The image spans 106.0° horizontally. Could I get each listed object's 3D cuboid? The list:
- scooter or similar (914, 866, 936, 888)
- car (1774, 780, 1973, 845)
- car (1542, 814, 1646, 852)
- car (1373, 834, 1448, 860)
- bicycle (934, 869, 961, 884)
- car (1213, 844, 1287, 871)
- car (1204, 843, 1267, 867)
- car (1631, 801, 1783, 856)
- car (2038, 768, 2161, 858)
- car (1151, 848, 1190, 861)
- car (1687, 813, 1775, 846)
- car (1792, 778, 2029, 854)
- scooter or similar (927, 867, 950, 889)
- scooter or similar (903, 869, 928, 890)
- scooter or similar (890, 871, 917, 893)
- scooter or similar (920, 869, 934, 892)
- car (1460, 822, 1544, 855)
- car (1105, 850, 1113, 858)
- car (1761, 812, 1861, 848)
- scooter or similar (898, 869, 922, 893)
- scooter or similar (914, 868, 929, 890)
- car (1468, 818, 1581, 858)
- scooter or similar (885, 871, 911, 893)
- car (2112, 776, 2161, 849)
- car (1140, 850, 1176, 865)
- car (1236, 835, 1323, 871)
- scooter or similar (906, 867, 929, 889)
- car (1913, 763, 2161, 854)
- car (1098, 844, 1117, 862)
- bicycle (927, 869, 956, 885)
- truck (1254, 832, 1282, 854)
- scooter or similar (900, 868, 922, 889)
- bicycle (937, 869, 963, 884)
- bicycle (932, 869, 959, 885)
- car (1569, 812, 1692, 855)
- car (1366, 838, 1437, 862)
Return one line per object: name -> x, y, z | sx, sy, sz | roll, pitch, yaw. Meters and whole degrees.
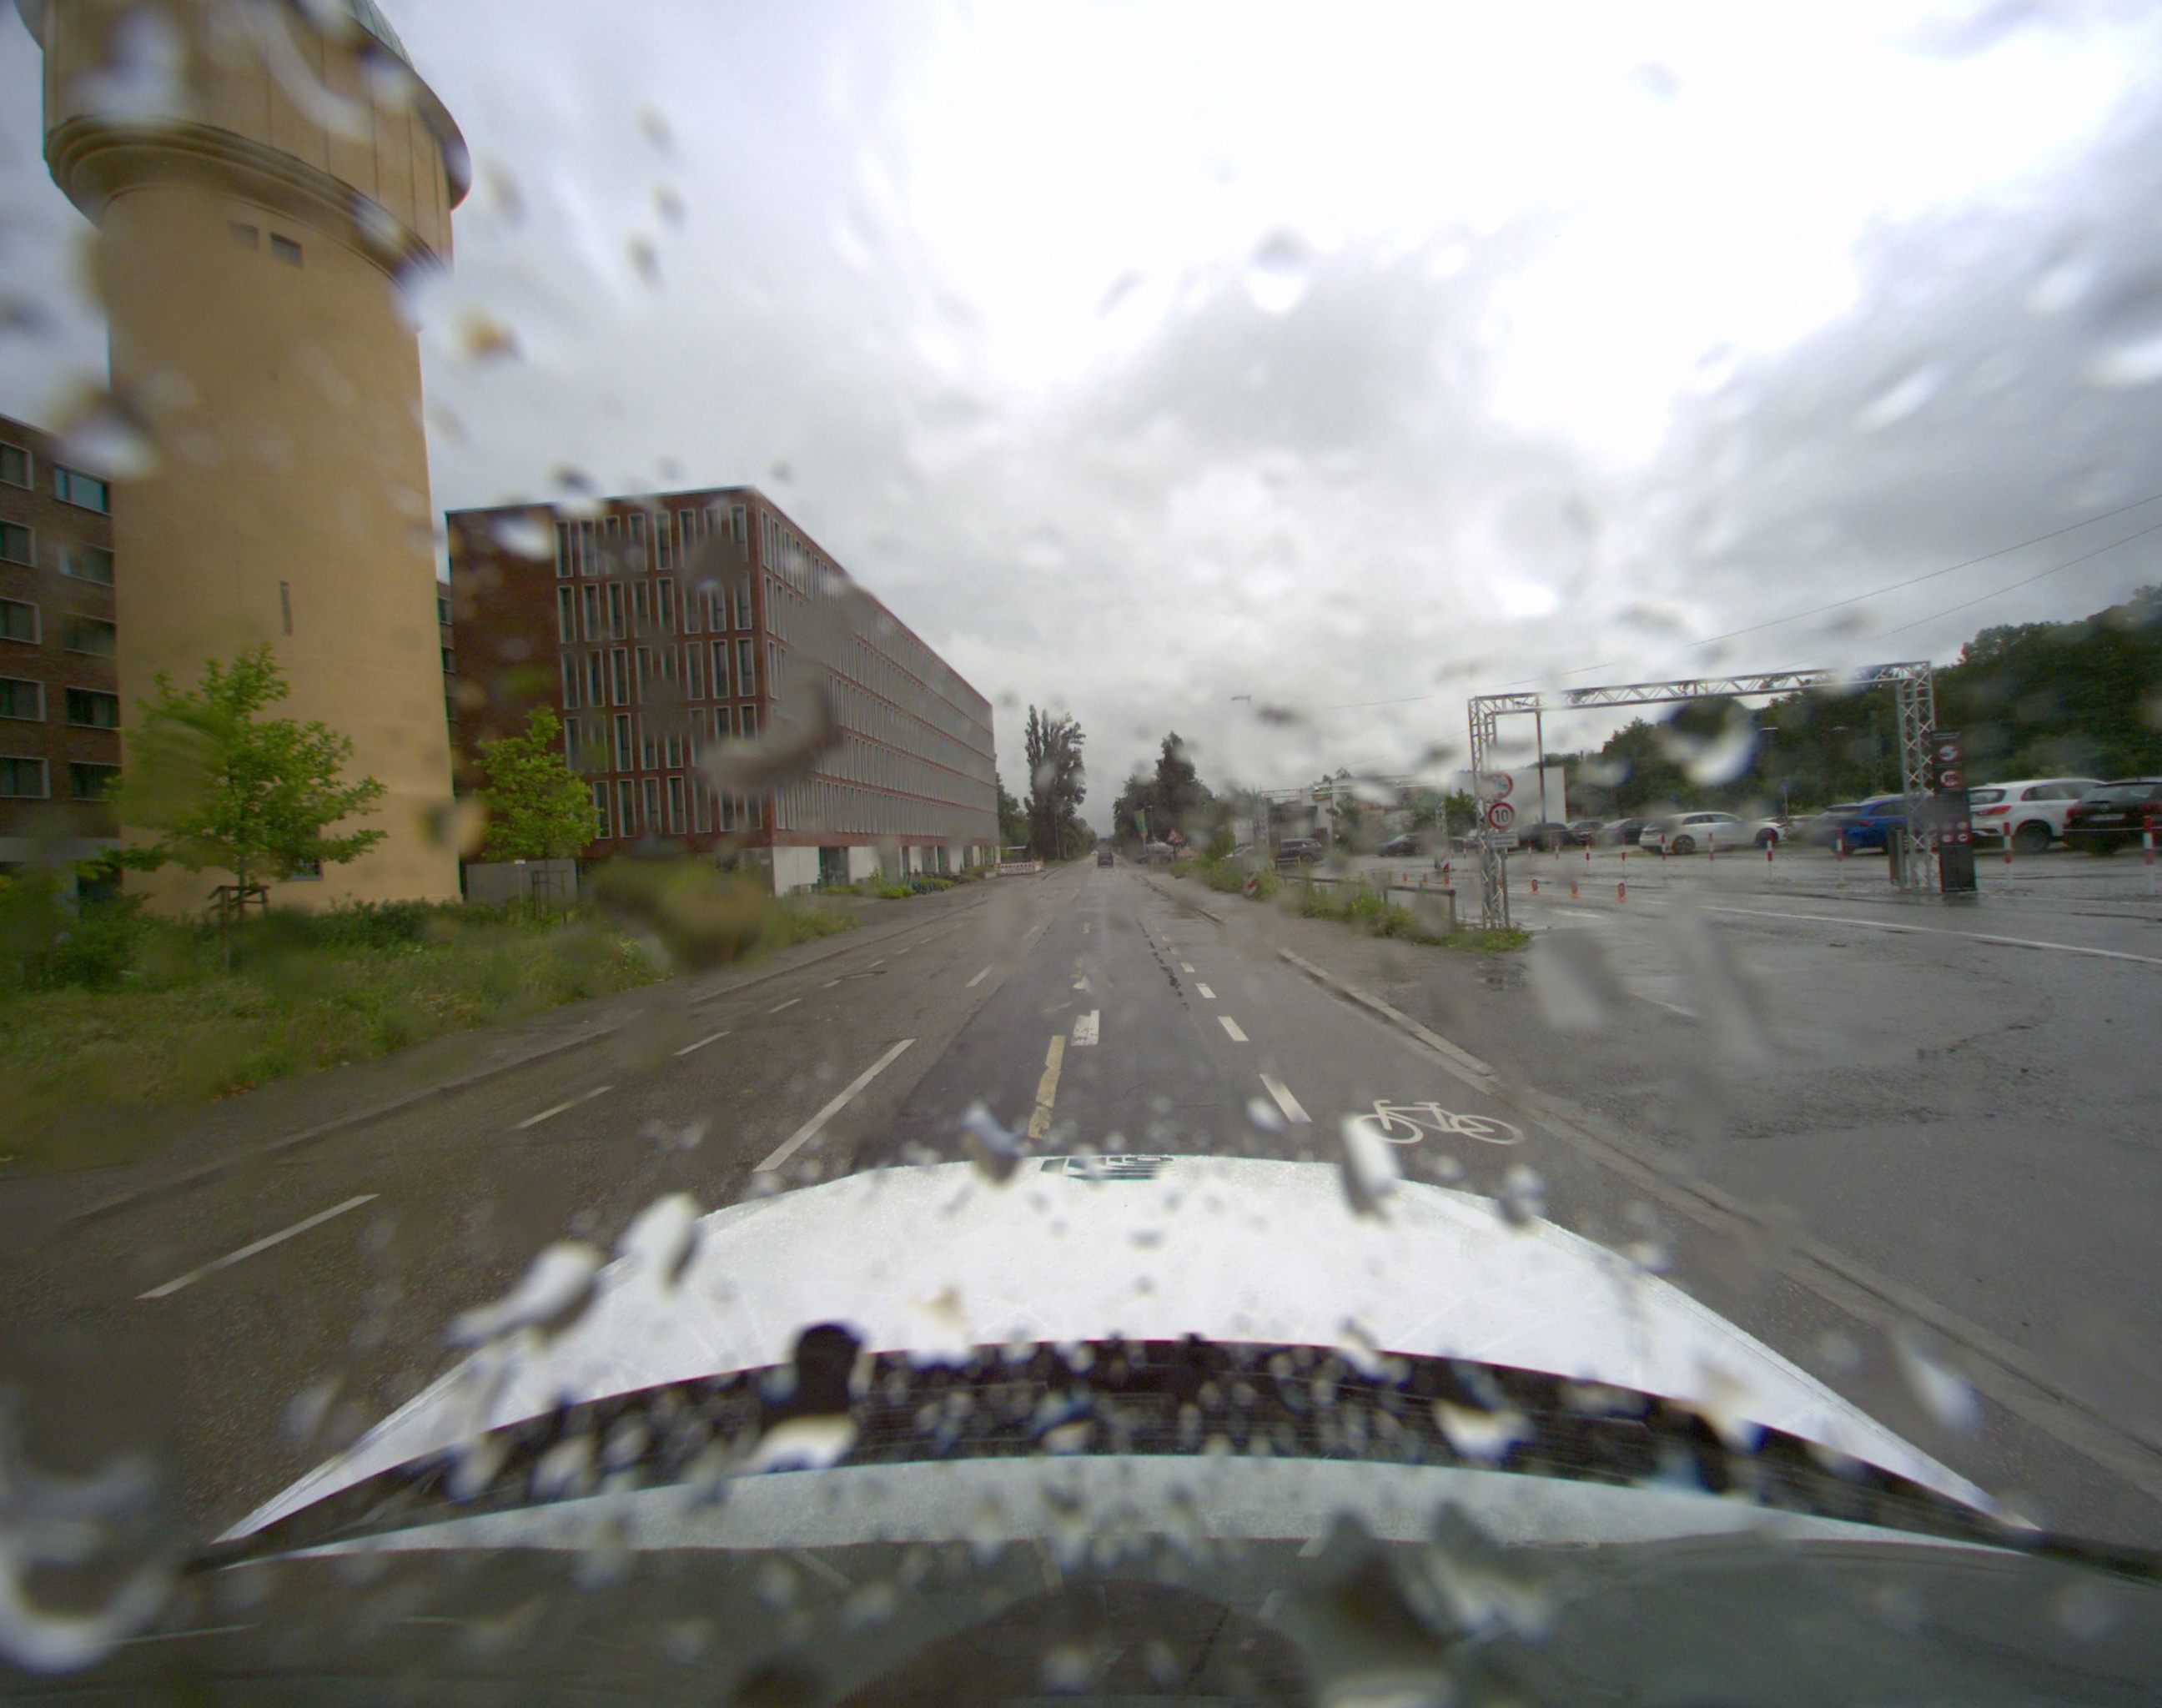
scooter or similar -> -9.545, 1.408, 49.785 | 0.461, 1.208, 1.215 | -4, 0, 44
car -> 26.910, -1.383, 27.782 | 4.684, 1.605, 1.928 | -6, -2, 2
car -> 28.722, -1.157, 45.733 | 4.426, 1.605, 2.044 | -6, -2, 1
car -> 21.190, -0.429, 52.523 | 3.971, 1.485, 2.001 | -3, -1, 2
bicycle -> -9.992, 1.683, 60.881 | 1.853, 1.077, 0.544 | -2, -1, 0
car -> 10.615, 0.235, 51.358 | 4.279, 1.517, 1.820 | -3, -1, 2
car -> 10.990, 0.094, 58.144 | 4.165, 1.510, 1.891 | -3, -1, 2
car -> 22.452, -0.883, 29.347 | 3.812, 1.484, 1.930 | -6, -2, 4
car -> 21.409, -0.924, 15.592 | 3.758, 1.584, 1.788 | -6, -2, 4
car -> 11.503, 0.049, 104.937 | 4.688, 1.462, 1.890 | -3, 0, 0
car -> 39.336, -1.472, 49.324 | 3.984, 1.728, 1.893 | -4, 0, -8
car -> 21.767, -0.956, 21.534 | 4.027, 1.484, 1.930 | -6, -2, 4
scooter or similar -> -8.462, 1.418, 48.413 | 1.304, 1.230, 0.470 | -4, 0, 31
scooter or similar -> -9.773, 1.509, 48.086 | 1.317, 1.177, 0.466 | -4, 0, -11
scooter or similar -> -10.062, 1.580, 46.206 | 1.309, 1.177, 0.468 | -4, 0, 7
scooter or similar -> -8.662, 1.470, 45.808 | 0.464, 1.230, 1.320 | -4, 0, -1
car -> 27.875, -0.997, 54.055 | 4.429, 1.672, 2.042 | -5, -2, -1
car -> 6.603, -0.042, 191.993 | 1.722, 1.687, 3.902 | -3, -1, 4
car -> 39.069, -1.287, 43.647 | 3.984, 1.636, 1.786 | -4, 0, -8
scooter or similar -> -9.500, 1.506, 45.205 | 1.304, 1.230, 0.511 | -4, 0, 40
scooter or similar -> -9.236, 1.468, 47.115 | 0.468, 1.230, 1.309 | -4, 0, -27
car -> 22.329, -0.776, 41.097 | 4.610, 1.716, 2.016 | -2, -1, -4
scooter or similar -> -10.491, 1.599, 46.761 | 1.309, 1.177, 0.468 | -4, 0, 7
car -> 27.058, -1.167, 18.817 | 4.048, 1.659, 1.831 | -5, -2, -1
car -> 9.236, 0.408, 97.792 | 4.117, 1.569, 1.767 | -4, -1, 4
car -> 11.634, -0.012, 48.048 | 4.657, 1.735, 2.131 | -4, -2, 6
scooter or similar -> -9.837, 1.422, 48.938 | 0.461, 1.230, 1.215 | -4, 0, 44
car -> 21.863, -0.992, 18.470 | 3.885, 1.584, 1.788 | -6, -2, 4
car -> 3.020, -0.139, 93.469 | 1.987, 1.910, 4.201 | -4, -1, 1
bicycle -> -10.022, 1.668, 58.523 | 1.942, 1.077, 0.620 | -2, -1, 0
truck -> 24.139, -1.387, 105.316 | 2.290, 2.659, 7.426 | -5, 0, 5
scooter or similar -> -10.804, 1.536, 51.655 | 1.219, 1.208, 0.418 | -4, 0, 8
bicycle -> -9.935, 1.669, 61.743 | 1.853, 1.077, 0.544 | -2, -1, 0
bicycle -> -9.988, 1.684, 59.999 | 1.853, 1.077, 0.544 | -2, -1, 0
car -> 27.589, -1.010, 41.006 | 4.686, 1.605, 2.044 | -6, -2, 1
car -> 21.675, -0.256, 55.198 | 3.971, 1.409, 2.001 | -3, -1, 2
